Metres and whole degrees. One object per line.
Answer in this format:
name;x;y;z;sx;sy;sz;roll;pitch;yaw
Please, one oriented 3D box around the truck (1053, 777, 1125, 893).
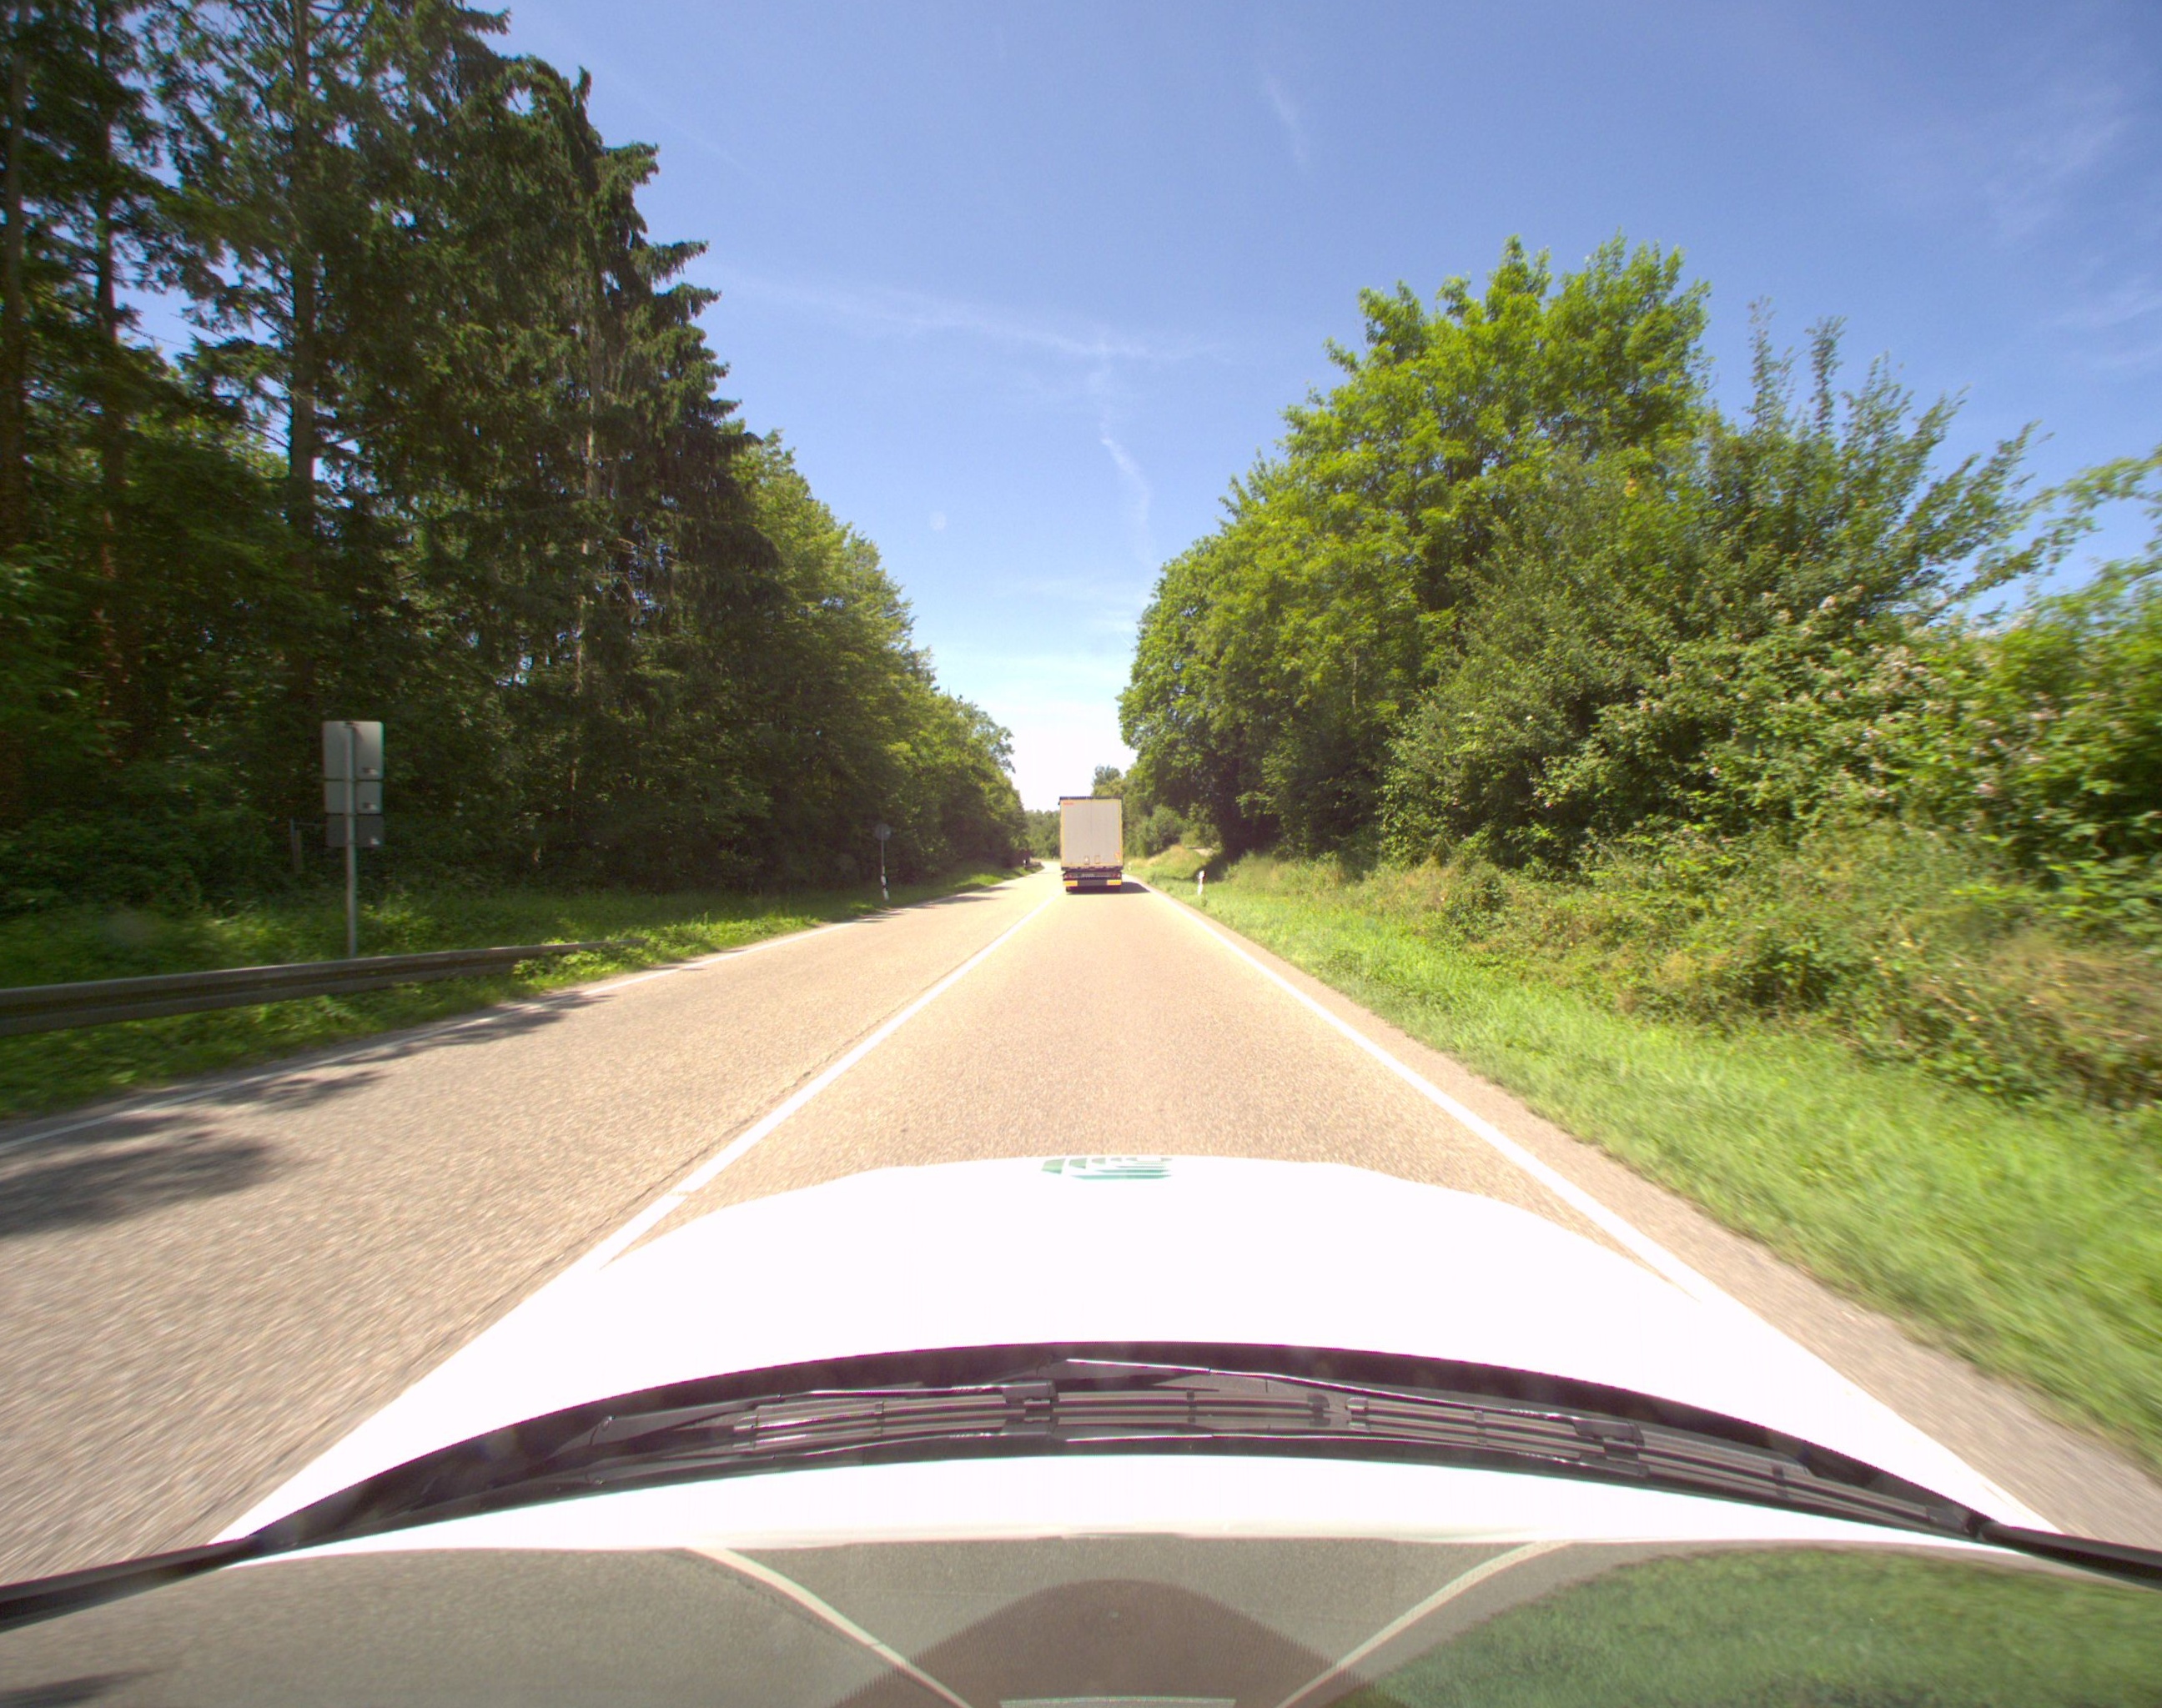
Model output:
truck;0.493;-0.702;36.160;2.811;4.604;6.669;-1;-1;3
